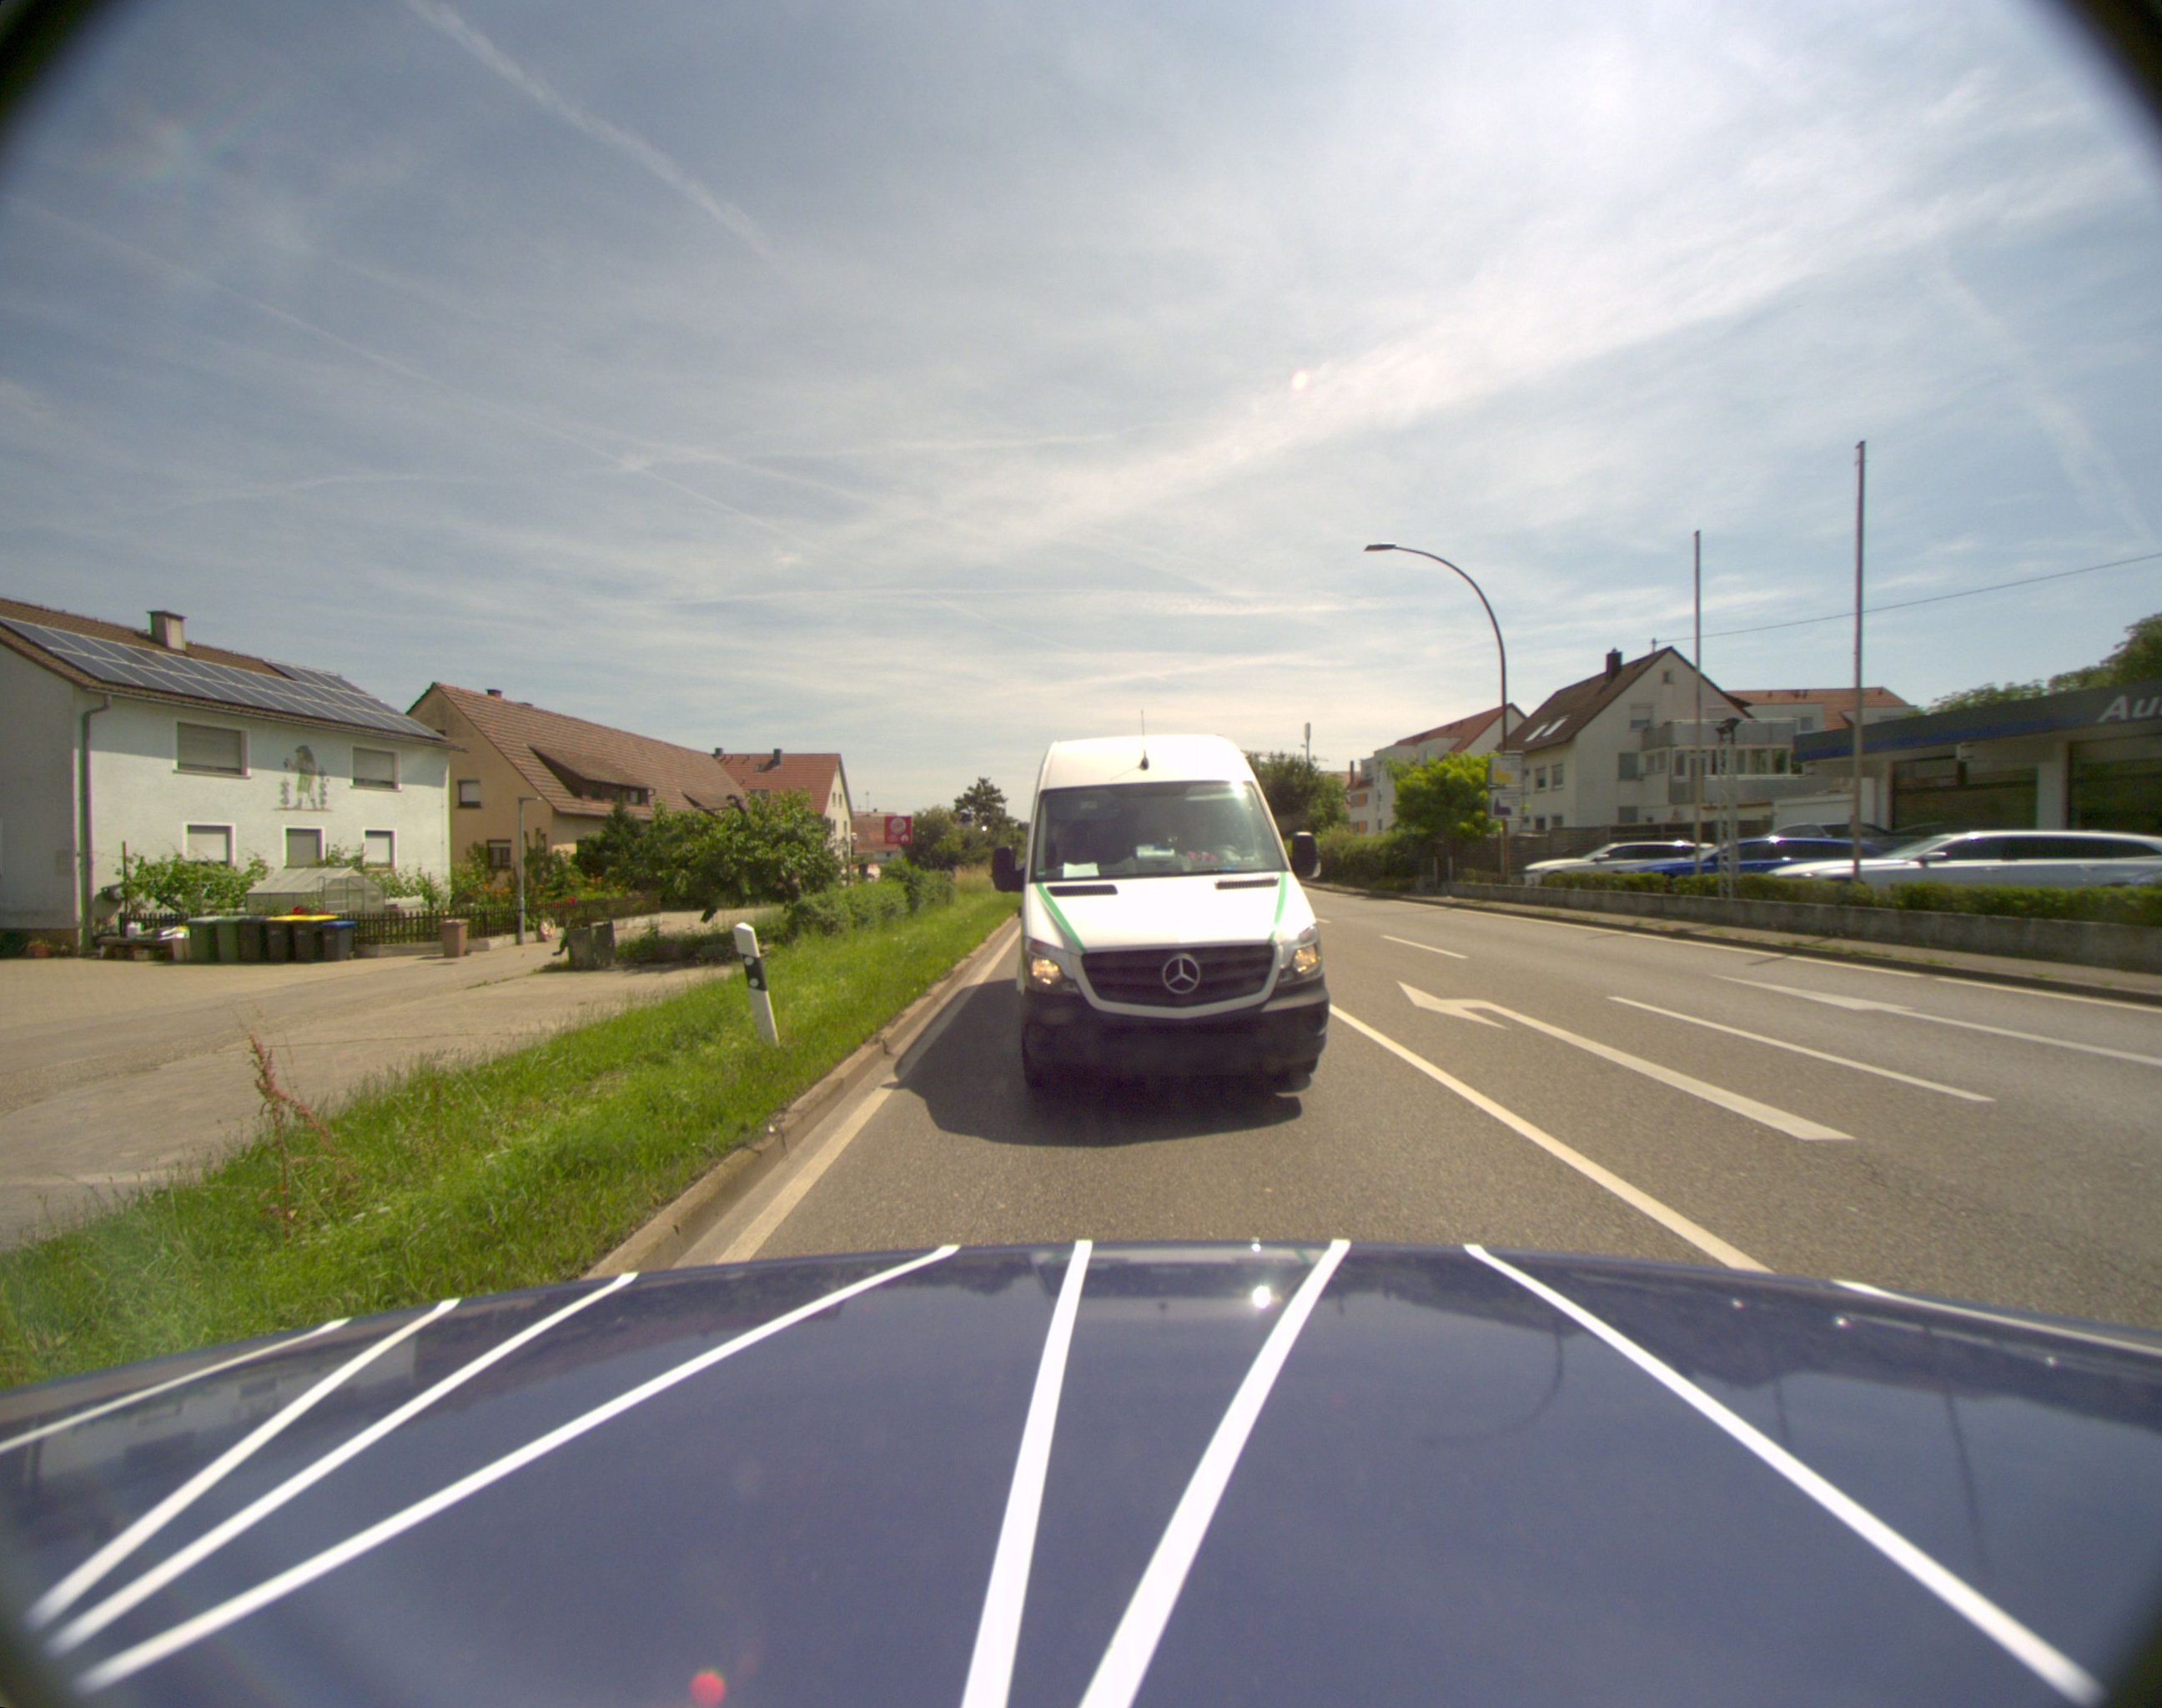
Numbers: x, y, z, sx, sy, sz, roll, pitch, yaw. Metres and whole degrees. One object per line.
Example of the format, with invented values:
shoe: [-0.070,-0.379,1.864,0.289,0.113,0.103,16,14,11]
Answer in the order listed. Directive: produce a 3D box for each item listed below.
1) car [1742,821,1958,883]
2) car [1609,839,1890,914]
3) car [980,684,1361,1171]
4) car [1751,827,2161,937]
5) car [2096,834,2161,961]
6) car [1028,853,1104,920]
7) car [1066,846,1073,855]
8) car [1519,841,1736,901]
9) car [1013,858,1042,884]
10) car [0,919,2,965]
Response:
car: [20.728,-0.064,20.812,1.807,1.456,4.585,-2,0,10]
car: [14.326,0.488,16.671,4.331,1.439,1.860,-2,1,29]
car: [0.472,0.383,6.875,1.939,2.514,5.748,-2,0,0]
car: [14.104,0.476,12.328,4.505,1.439,1.860,-4,0,30]
car: [14.447,0.456,7.873,4.331,1.439,1.860,-2,1,29]
car: [-0.401,0.833,22.009,1.884,1.652,4.625,-3,0,0]
car: [-3.288,-0.988,222.875,1.998,2.573,3.999,-2,1,0]
car: [14.501,0.468,20.545,4.568,1.439,1.860,-2,1,29]
car: [-3.434,1.079,49.579,1.636,1.476,3.551,-4,1,-1]
car: [-26.878,1.742,16.654,3.957,1.683,1.844,0,1,3]
